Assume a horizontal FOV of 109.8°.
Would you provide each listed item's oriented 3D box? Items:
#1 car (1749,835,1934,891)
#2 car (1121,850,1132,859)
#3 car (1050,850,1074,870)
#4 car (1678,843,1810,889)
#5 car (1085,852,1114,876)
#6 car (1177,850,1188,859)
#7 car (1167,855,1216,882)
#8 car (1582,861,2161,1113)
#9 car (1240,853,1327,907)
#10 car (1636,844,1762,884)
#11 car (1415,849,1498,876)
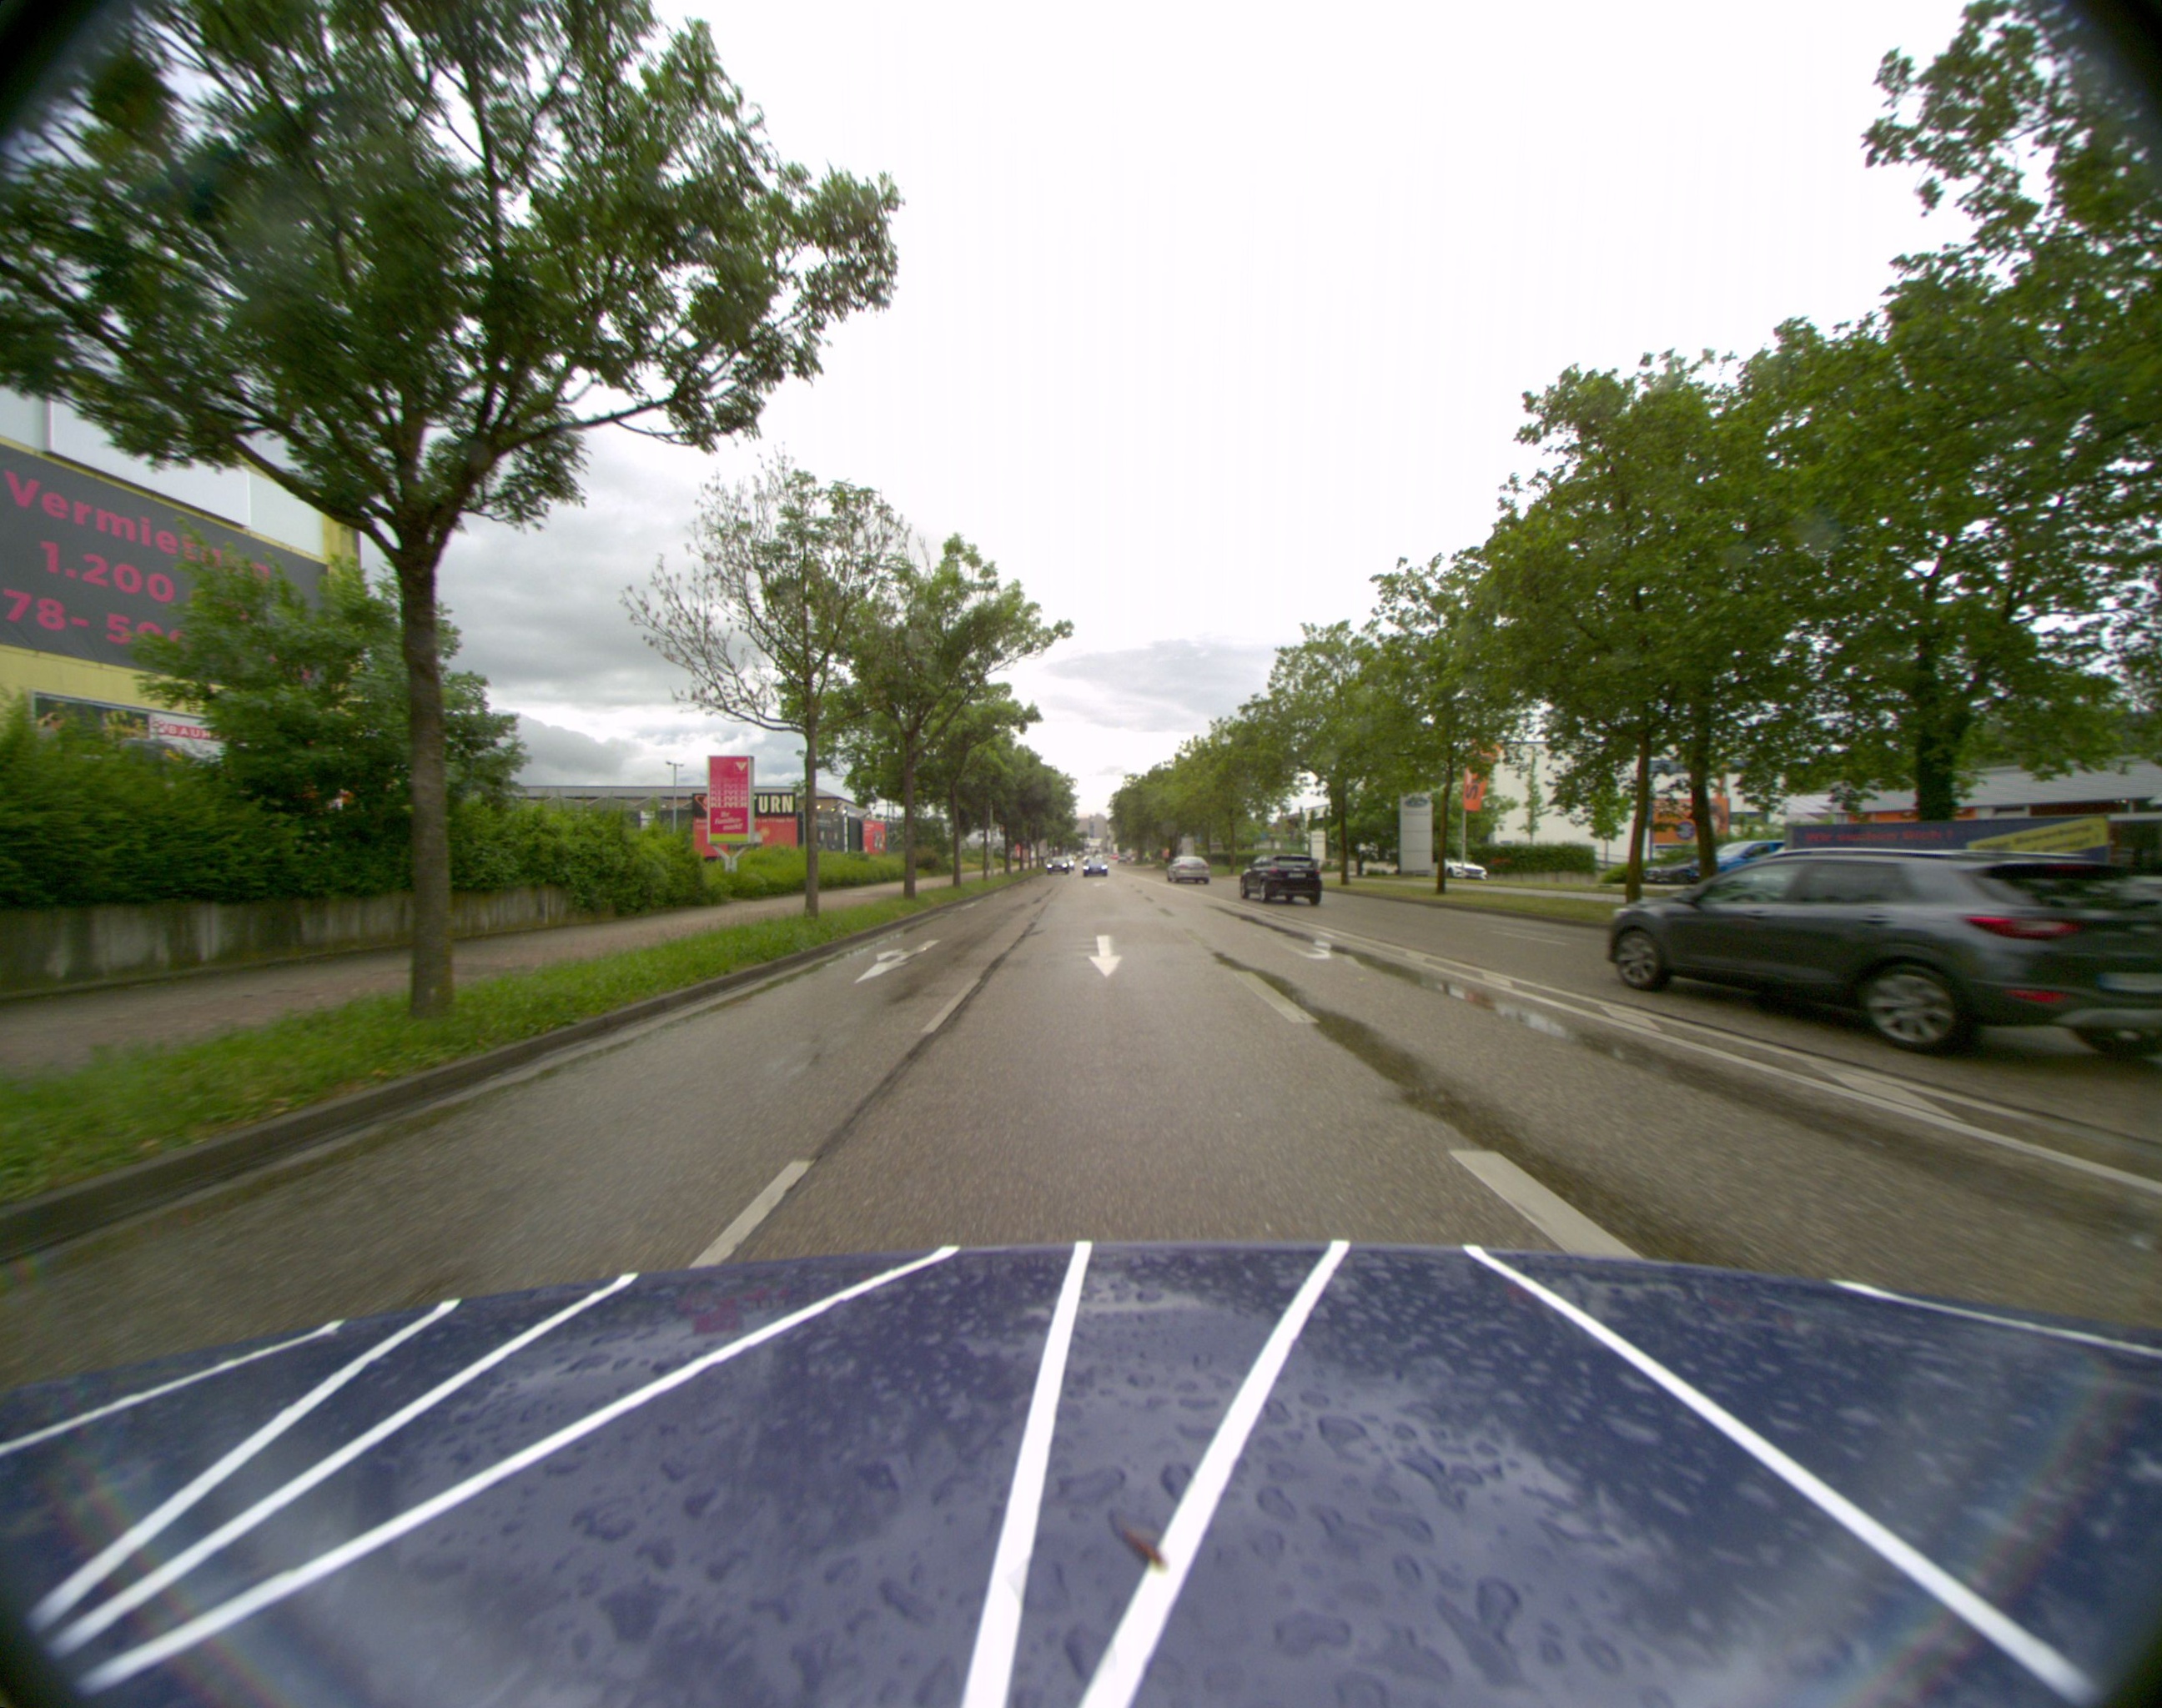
[{"bbox_3d":[29.075,0.326,29.172,5.058,2.002,2.129,0,0,-1],"label":"car"},{"bbox_3d":[9.666,0.046,162.882,1.916,1.795,5.340,1,0,-1],"label":"car"},{"bbox_3d":[-1.684,0.537,69.006,1.998,1.632,4.360,-2,1,1],"label":"car"},{"bbox_3d":[28.702,0.504,33.005,3.996,1.878,1.963,0,0,1],"label":"car"},{"bbox_3d":[1.389,0.696,57.465,1.998,1.632,4.360,-2,1,1],"label":"car"},{"bbox_3d":[19.371,0.056,145.161,1.746,1.525,4.000,2,1,2],"label":"car"},{"bbox_3d":[6.074,0.759,42.214,1.999,1.421,4.684,0,0,-1],"label":"car"},{"bbox_3d":[6.666,0.818,6.655,1.671,1.453,4.179,0,0,-2],"label":"car"},{"bbox_3d":[6.351,0.755,24.202,1.767,1.522,3.858,1,0,1],"label":"car"},{"bbox_3d":[28.576,0.450,35.238,4.136,1.803,2.066,0,0,1],"label":"car"},{"bbox_3d":[21.462,0.450,43.688,2.123,1.487,5.246,0,0,0],"label":"car"}]
